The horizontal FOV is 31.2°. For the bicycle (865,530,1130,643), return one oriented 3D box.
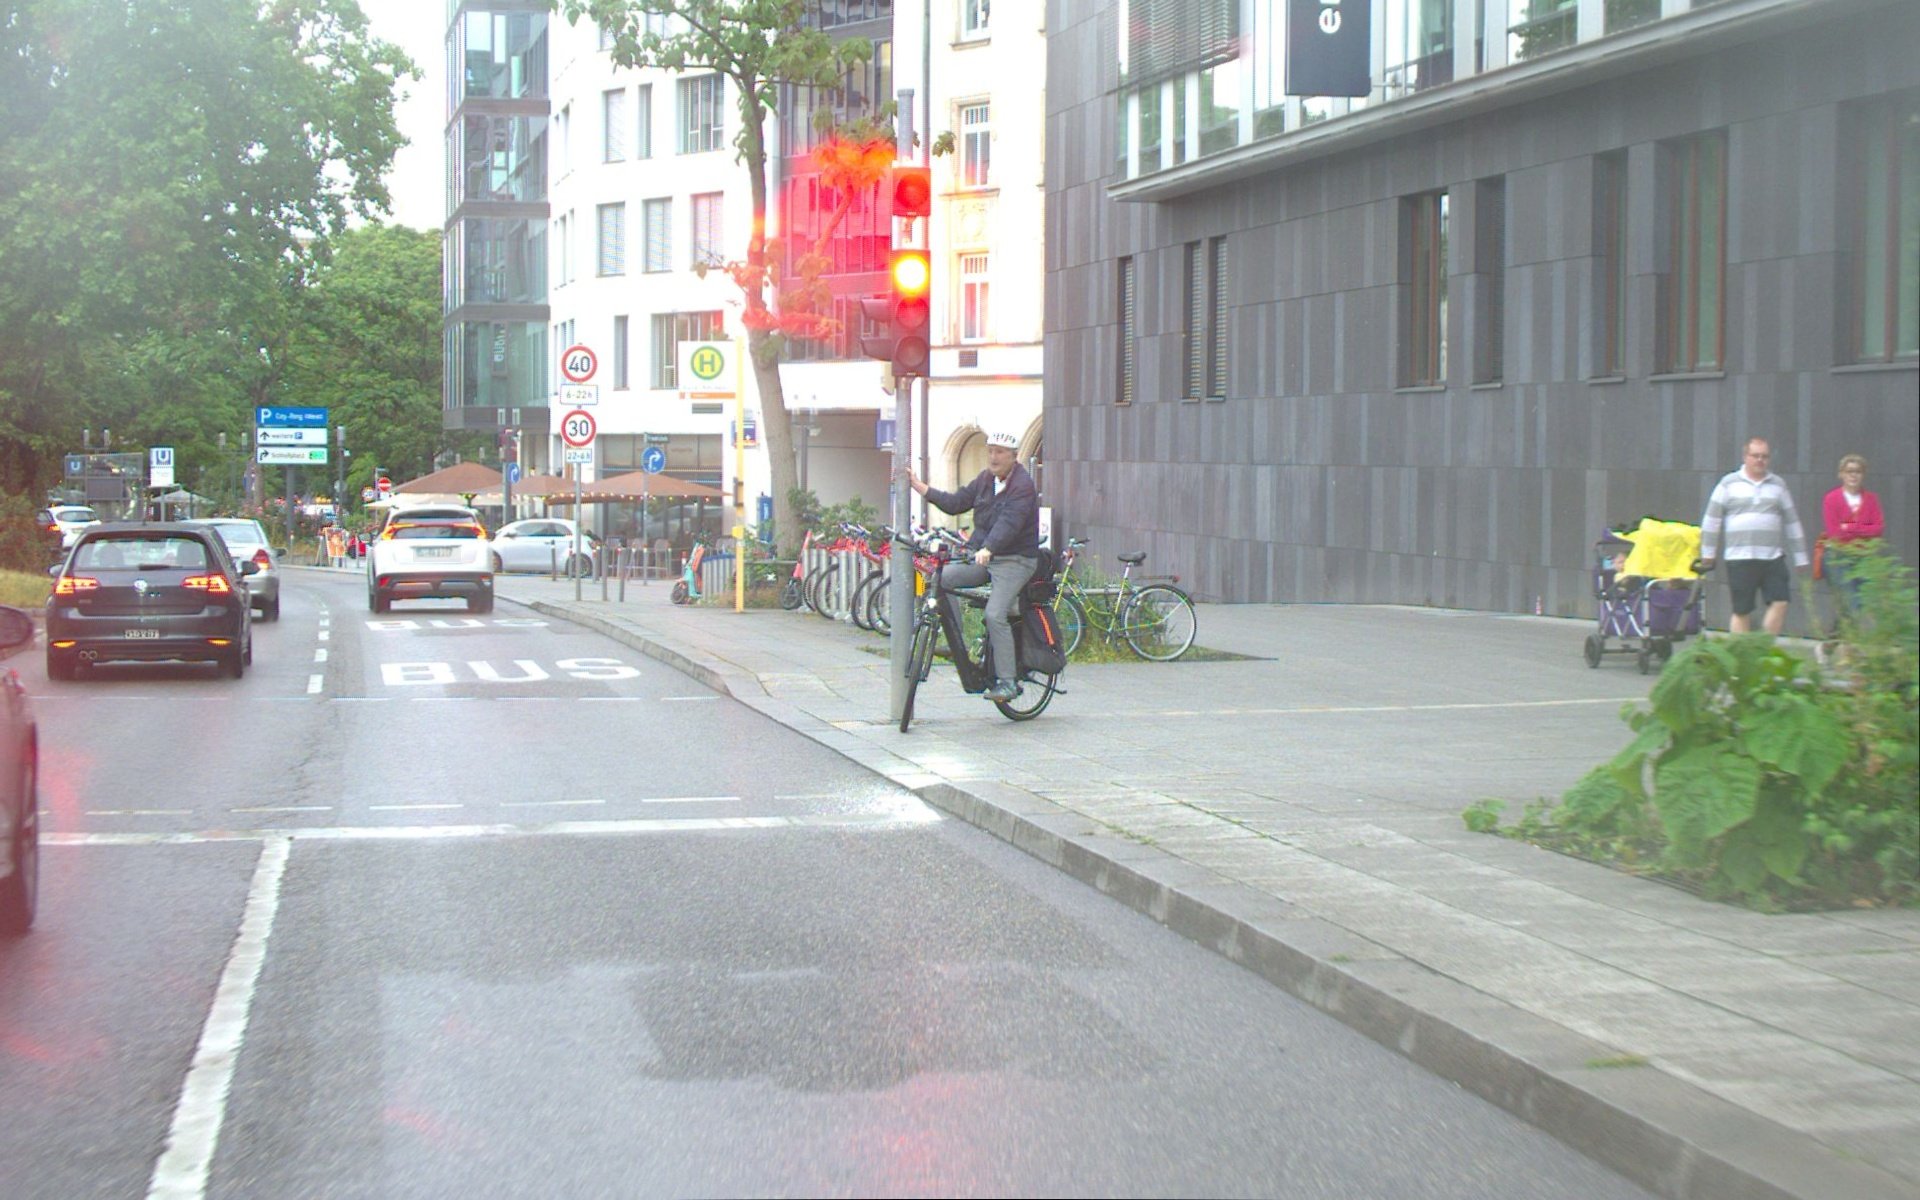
[{"bbox_3d":[0.368,-0.145,34.023,2.535,1.083,0.678,-1,1,-11],"label":"bicycle"}]

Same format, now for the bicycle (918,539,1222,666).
[{"bbox_3d":[0.951,0.010,29.701,2.535,1.053,0.678,0,1,-11],"label":"bicycle"}]

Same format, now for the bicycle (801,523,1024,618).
[{"bbox_3d":[-0.560,-0.354,40.309,2.535,1.083,0.678,-1,1,-11],"label":"bicycle"}]

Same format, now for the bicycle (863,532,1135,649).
[{"bbox_3d":[0.374,-0.103,33.164,2.535,1.083,0.678,-1,1,-11],"label":"bicycle"}]

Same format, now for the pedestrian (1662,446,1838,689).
[{"bbox_3d":[6.021,-0.261,26.255,0.899,1.785,1.047,-3,2,-12],"label":"pedestrian"}]

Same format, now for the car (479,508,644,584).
[{"bbox_3d":[-10.328,-1.410,89.019,3.986,1.641,2.001,4,1,-12],"label":"car"}]

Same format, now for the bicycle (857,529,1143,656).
[{"bbox_3d":[0.367,-0.074,31.930,2.535,1.083,0.678,2,1,-11],"label":"bicycle"}]

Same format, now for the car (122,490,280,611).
[{"bbox_3d":[-10.792,-0.728,48.673,1.944,1.641,4.246,0,2,-16],"label":"car"}]

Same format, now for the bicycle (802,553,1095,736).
[{"bbox_3d":[-0.051,0.270,22.900,0.762,1.141,2.128,0,1,39],"label":"bicycle"}]

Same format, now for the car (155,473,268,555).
[{"bbox_3d":[-15.627,-1.799,71.632,1.944,1.641,4.001,0,2,-17],"label":"car"}]

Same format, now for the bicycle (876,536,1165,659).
[{"bbox_3d":[0.543,-0.036,31.141,2.535,1.083,0.678,0,1,-11],"label":"bicycle"}]

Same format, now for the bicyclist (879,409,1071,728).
[{"bbox_3d":[0.106,-0.219,23.090,0.762,2.076,1.082,0,1,39],"label":"bicyclist"}]

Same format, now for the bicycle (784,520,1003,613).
[{"bbox_3d":[-0.794,-0.407,41.177,2.535,1.083,0.678,-1,1,-11],"label":"bicycle"}]

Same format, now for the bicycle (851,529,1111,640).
[{"bbox_3d":[0.211,-0.169,34.820,2.535,1.083,0.678,-1,1,-11],"label":"bicycle"}]

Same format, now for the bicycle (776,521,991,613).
[{"bbox_3d":[-0.932,-0.413,41.914,2.535,1.083,0.678,-1,1,-11],"label":"bicycle"}]

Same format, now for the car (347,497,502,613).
[{"bbox_3d":[-8.294,-0.722,52.978,2.178,1.695,4.001,0,2,-11],"label":"car"}]

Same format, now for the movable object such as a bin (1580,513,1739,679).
[{"bbox_3d":[5.588,-0.050,27.532,0.731,1.259,1.445,-2,2,-10],"label":"movable object such as a bin"}]

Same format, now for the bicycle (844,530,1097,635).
[{"bbox_3d":[0.110,-0.189,35.681,2.535,1.056,0.678,-1,1,-11],"label":"bicycle"}]

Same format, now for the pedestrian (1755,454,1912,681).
[{"bbox_3d":[6.723,-0.263,26.500,0.717,1.684,1.100,-3,2,-12],"label":"pedestrian"}]

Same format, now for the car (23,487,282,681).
[{"bbox_3d":[-7.573,-0.199,32.634,2.161,1.700,4.555,0,2,-10],"label":"car"}]

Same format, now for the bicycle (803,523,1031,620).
[{"bbox_3d":[-0.503,-0.339,39.559,2.535,1.083,0.678,-1,1,-11],"label":"bicycle"}]

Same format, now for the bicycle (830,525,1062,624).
[{"bbox_3d":[-0.160,-0.298,38.753,2.535,1.083,0.678,-1,1,-11],"label":"bicycle"}]

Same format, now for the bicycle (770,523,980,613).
[{"bbox_3d":[-1.057,-0.402,42.627,2.535,1.083,0.627,-1,1,-11],"label":"bicycle"}]

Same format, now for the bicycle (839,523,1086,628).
[{"bbox_3d":[0.027,-0.266,36.585,2.535,1.083,0.678,-1,1,-11],"label":"bicycle"}]

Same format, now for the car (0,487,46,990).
[{"bbox_3d":[-3.940,0.456,10.626,1.847,1.610,4.254,1,2,-11],"label":"car"}]

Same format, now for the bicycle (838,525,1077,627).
[{"bbox_3d":[-0.029,-0.272,37.784,2.535,1.083,0.678,-1,1,-11],"label":"bicycle"}]
